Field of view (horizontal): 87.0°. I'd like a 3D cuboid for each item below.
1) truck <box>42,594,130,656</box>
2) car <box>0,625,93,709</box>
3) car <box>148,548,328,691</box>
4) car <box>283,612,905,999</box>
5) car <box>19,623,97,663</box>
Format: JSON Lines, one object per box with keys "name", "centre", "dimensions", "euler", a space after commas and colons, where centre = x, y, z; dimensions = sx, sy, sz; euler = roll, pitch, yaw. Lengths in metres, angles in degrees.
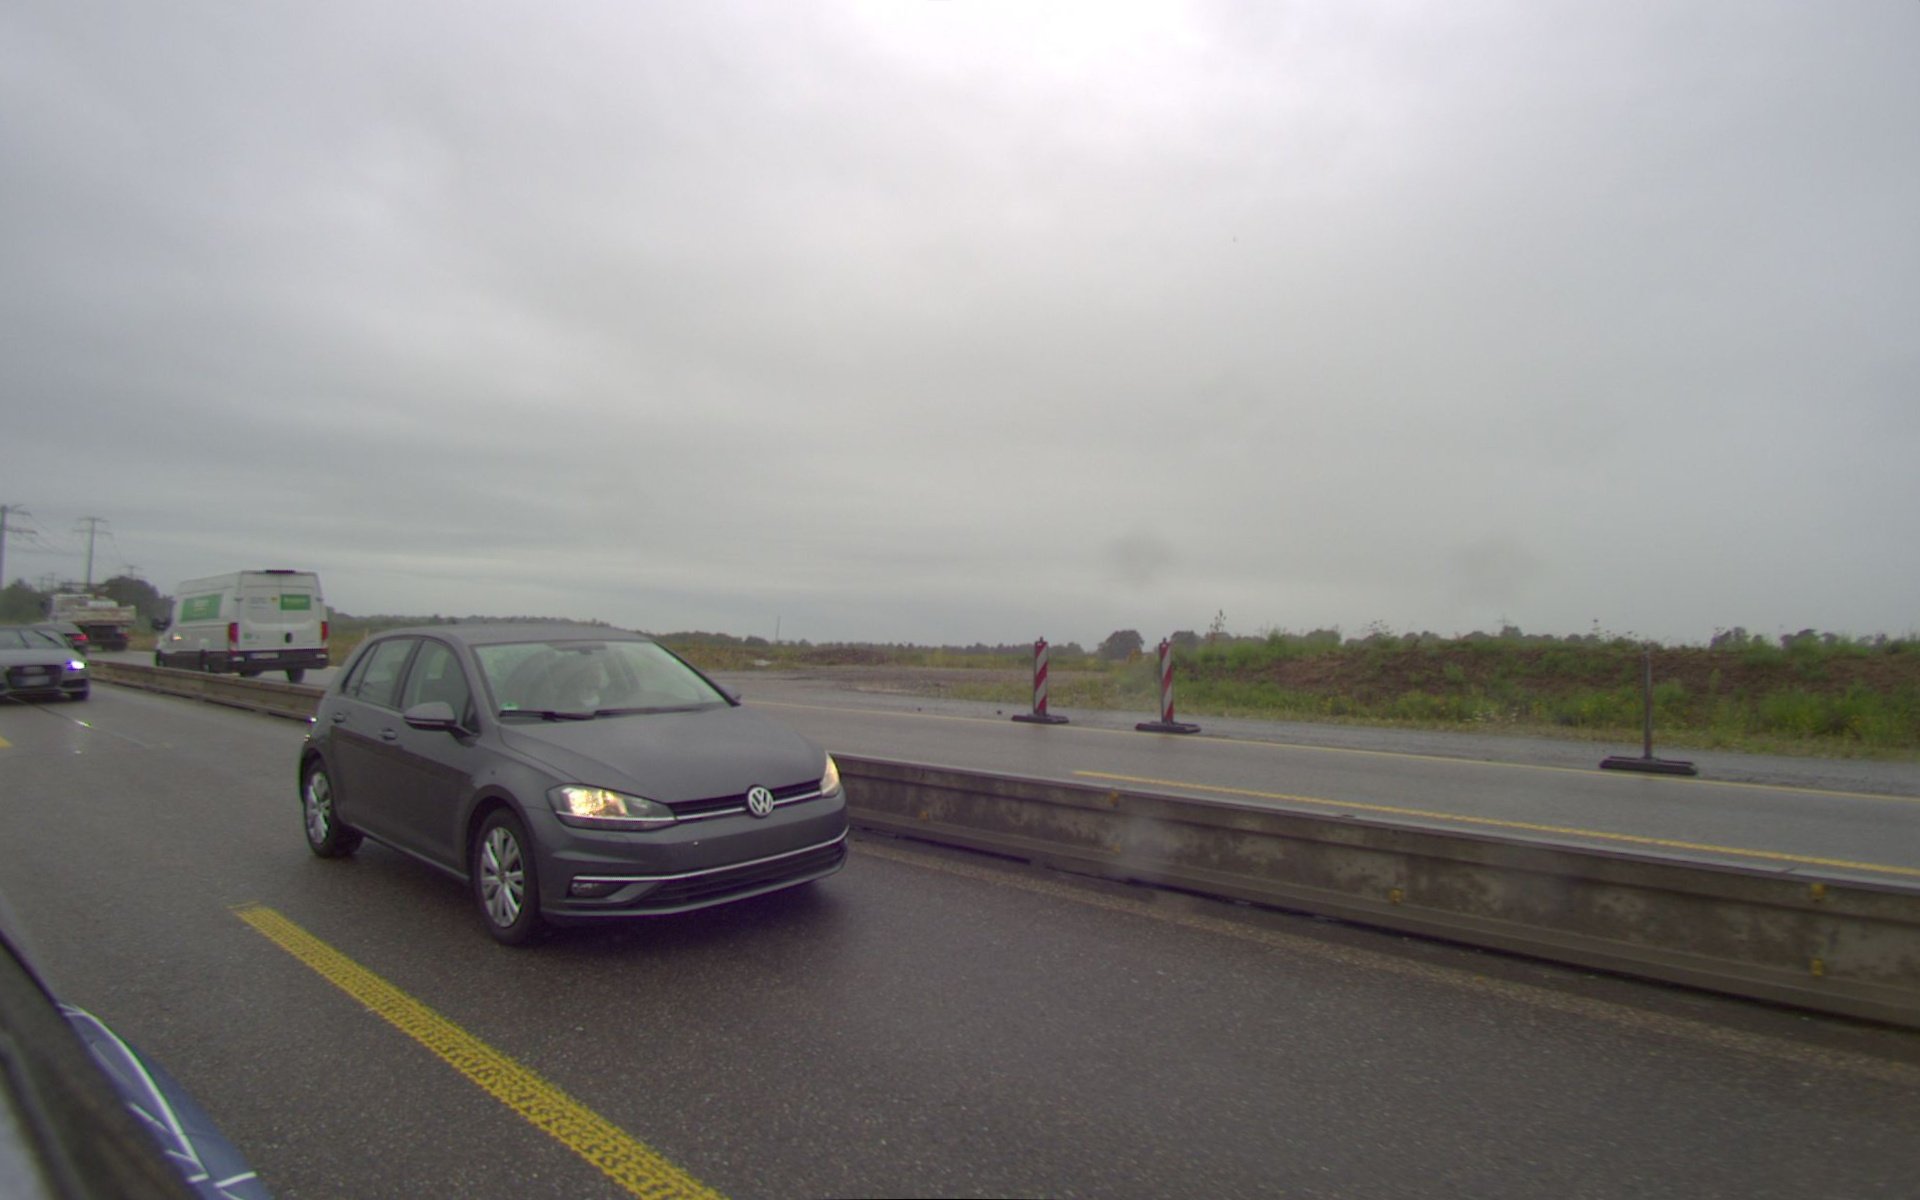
{"name": "truck", "centre": [-43.912, 1.295, 50.802], "dimensions": [6.544, 2.916, 2.334], "euler": [-1, -3, 41]}
{"name": "car", "centre": [-18.214, 1.223, 19.386], "dimensions": [4.265, 1.407, 1.777], "euler": [0, 0, 40]}
{"name": "car", "centre": [-17.772, 0.472, 24.716], "dimensions": [7.167, 3.068, 1.973], "euler": [-1, -1, 41]}
{"name": "car", "centre": [-2.325, 0.795, 5.792], "dimensions": [4.080, 1.433, 1.632], "euler": [0, -1, 42]}
{"name": "car", "centre": [-35.967, 1.671, 40.323], "dimensions": [4.747, 1.506, 1.729], "euler": [-1, -1, 41]}
